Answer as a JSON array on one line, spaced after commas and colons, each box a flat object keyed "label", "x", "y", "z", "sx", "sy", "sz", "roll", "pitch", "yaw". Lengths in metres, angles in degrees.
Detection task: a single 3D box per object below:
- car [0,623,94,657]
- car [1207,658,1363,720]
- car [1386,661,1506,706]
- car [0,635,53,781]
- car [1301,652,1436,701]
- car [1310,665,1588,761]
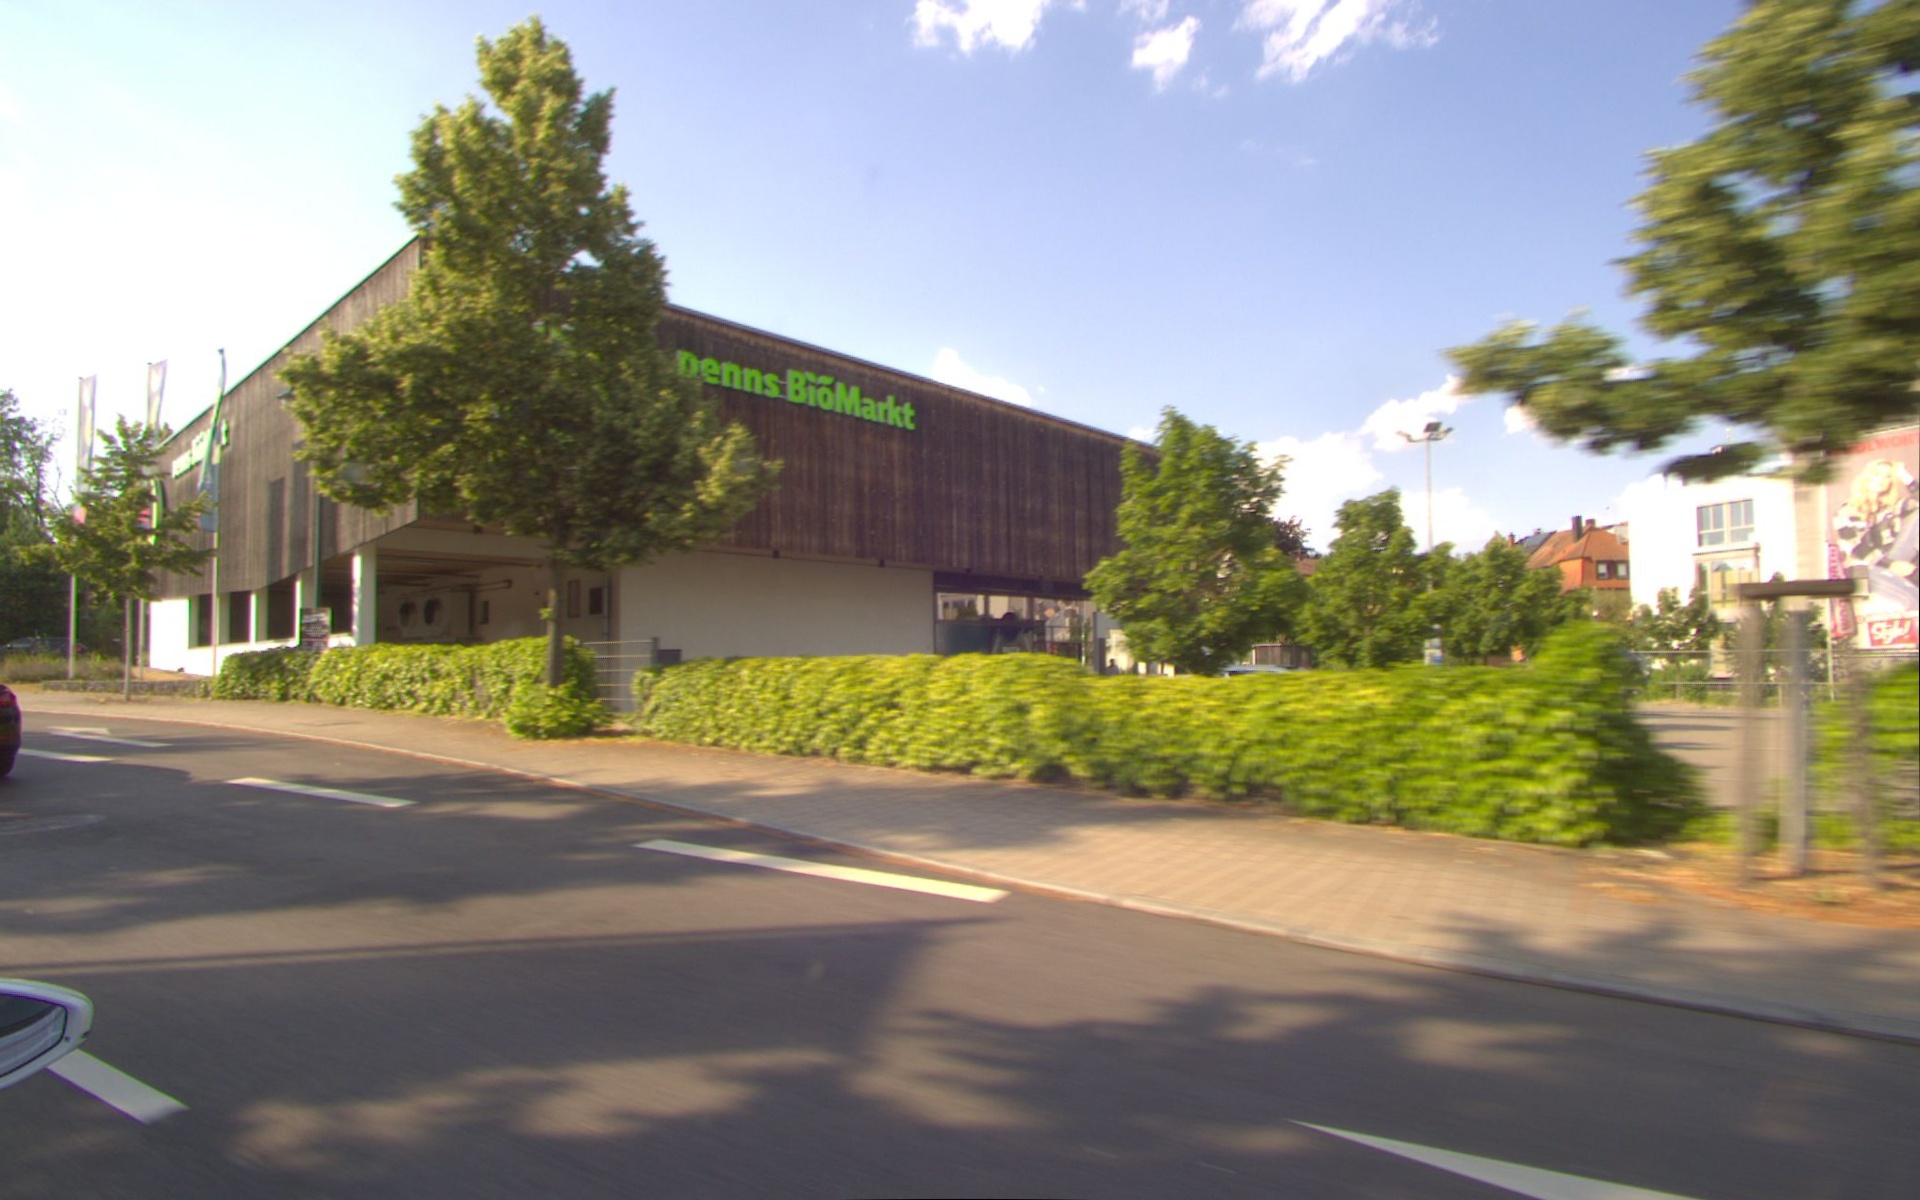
[{"label": "car", "x": -44.527, "y": 1.927, "z": 48.022, "sx": 4.212, "sy": 1.587, "sz": 1.783, "roll": 1, "pitch": -2, "yaw": -32}, {"label": "car", "x": 9.559, "y": 2.563, "z": 29.606, "sx": 3.956, "sy": 1.648, "sz": 1.984, "roll": -2, "pitch": -3, "yaw": 42}, {"label": "car", "x": 19.509, "y": 3.322, "z": 40.284, "sx": 3.956, "sy": 1.648, "sz": 1.984, "roll": -2, "pitch": -3, "yaw": 42}, {"label": "car", "x": -11.223, "y": 1.064, "z": 10.211, "sx": 4.292, "sy": 1.381, "sz": 1.917, "roll": -2, "pitch": -2, "yaw": 33}, {"label": "car", "x": 14.298, "y": 2.629, "z": 35.145, "sx": 3.956, "sy": 1.570, "sz": 1.984, "roll": -2, "pitch": -3, "yaw": 42}, {"label": "car", "x": 9.287, "y": 2.055, "z": 19.216, "sx": 4.492, "sy": 1.558, "sz": 1.987, "roll": -2, "pitch": -3, "yaw": 39}]
